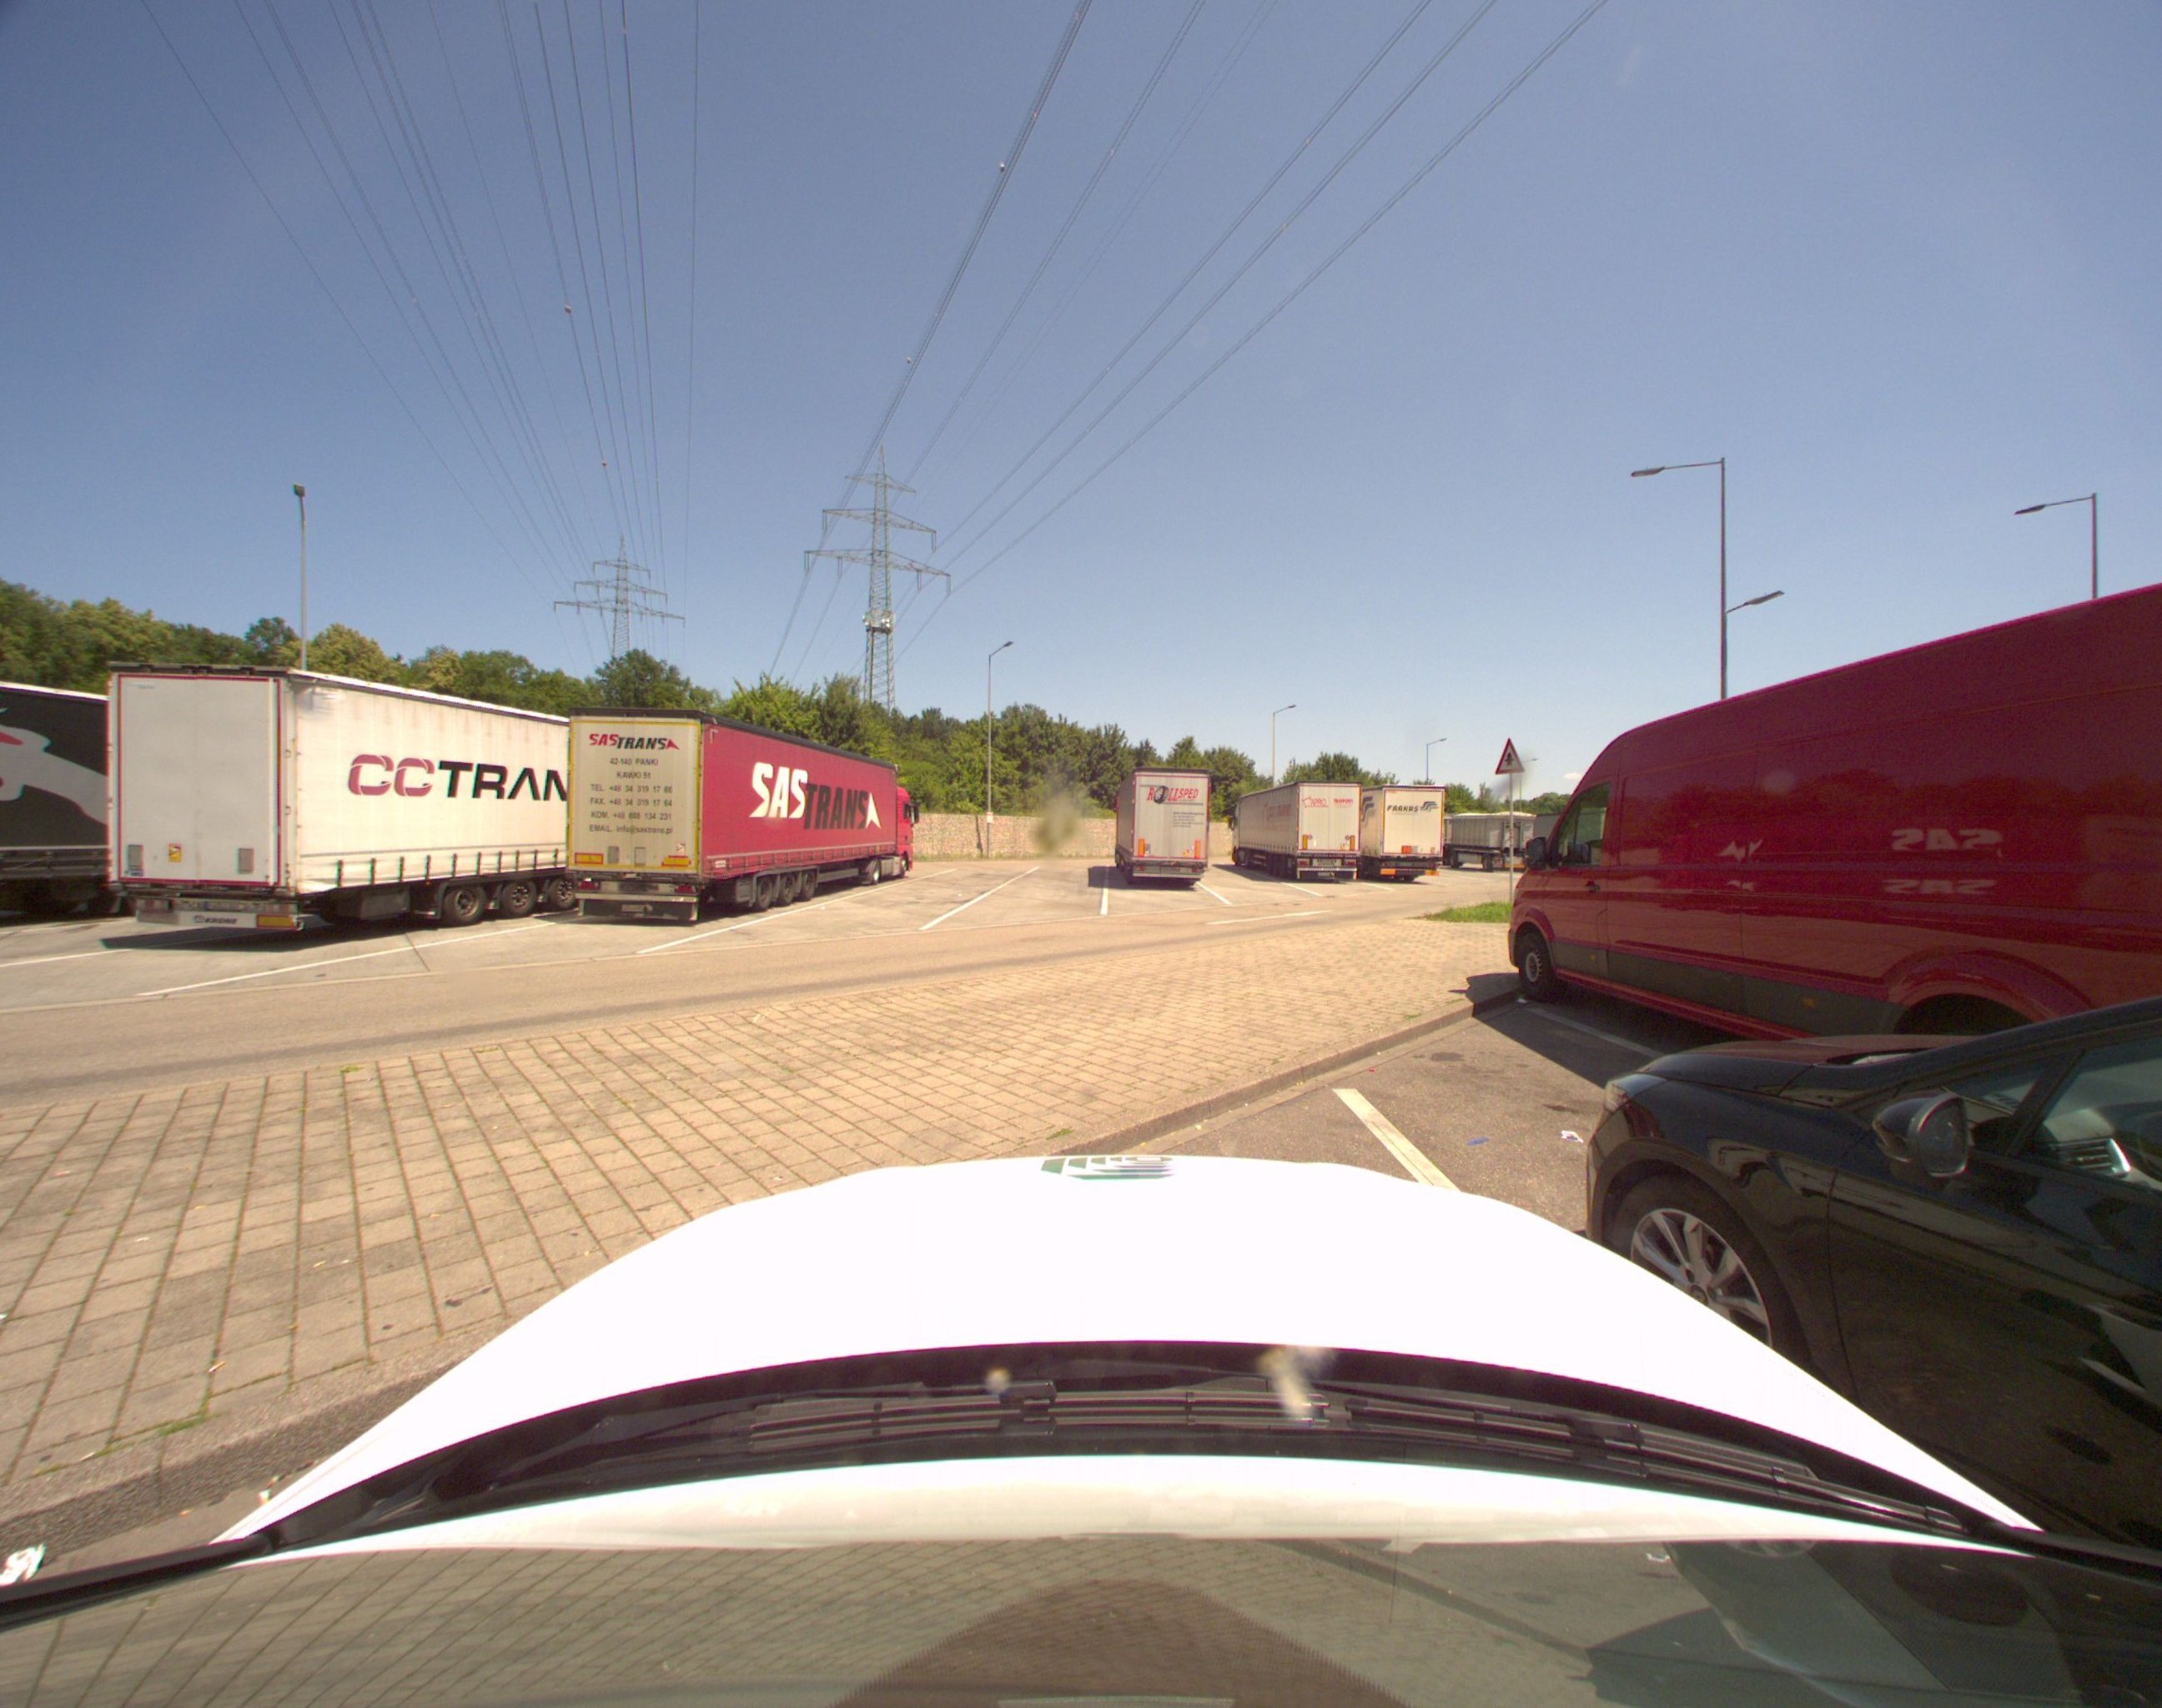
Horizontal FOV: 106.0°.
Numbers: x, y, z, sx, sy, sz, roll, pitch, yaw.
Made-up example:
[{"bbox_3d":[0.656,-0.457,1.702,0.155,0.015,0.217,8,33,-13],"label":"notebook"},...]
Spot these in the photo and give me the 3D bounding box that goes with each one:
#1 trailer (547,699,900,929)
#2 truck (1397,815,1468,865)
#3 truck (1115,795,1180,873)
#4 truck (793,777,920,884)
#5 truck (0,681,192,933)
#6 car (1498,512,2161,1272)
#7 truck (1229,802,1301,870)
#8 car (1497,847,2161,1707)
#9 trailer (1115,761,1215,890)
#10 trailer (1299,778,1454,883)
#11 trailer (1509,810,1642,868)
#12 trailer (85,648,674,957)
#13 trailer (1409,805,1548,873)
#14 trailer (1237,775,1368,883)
[{"bbox_3d":[-8.042,-0.950,21.655,2.896,4.131,13.731,1,2,2],"label":"trailer"},{"bbox_3d":[24.913,-1.012,57.954,2.840,3.364,5.488,1,1,3],"label":"truck"},{"bbox_3d":[3.163,-0.987,39.909,2.841,3.483,5.486,1,1,2],"label":"truck"},{"bbox_3d":[-7.804,-0.831,29.092,2.841,3.427,5.486,1,1,2],"label":"truck"},{"bbox_3d":[-18.582,-0.796,13.560,2.692,4.016,4.326,1,2,2],"label":"truck"},{"bbox_3d":[5.161,0.084,5.490,2.055,2.695,6.405,-1,1,6],"label":"car"},{"bbox_3d":[10.157,-1.028,45.435,2.841,3.483,5.486,1,1,2],"label":"truck"},{"bbox_3d":[2.518,0.752,1.179,1.733,1.482,3.813,-1,1,-3],"label":"car"},{"bbox_3d":[3.020,-1.101,33.296,2.896,4.132,13.727,1,2,1],"label":"trailer"},{"bbox_3d":[13.606,-1.122,39.288,2.828,4.132,13.730,1,2,2],"label":"trailer"},{"bbox_3d":[38.366,-1.242,64.142,2.826,4.049,13.737,1,2,3],"label":"trailer"},{"bbox_3d":[-12.206,-0.886,16.326,2.718,4.209,10.175,1,2,2],"label":"trailer"},{"bbox_3d":[24.525,-1.004,51.456,2.826,3.717,13.737,1,2,3],"label":"trailer"},{"bbox_3d":[9.950,-1.154,38.624,2.828,4.132,13.730,1,2,2],"label":"trailer"}]
